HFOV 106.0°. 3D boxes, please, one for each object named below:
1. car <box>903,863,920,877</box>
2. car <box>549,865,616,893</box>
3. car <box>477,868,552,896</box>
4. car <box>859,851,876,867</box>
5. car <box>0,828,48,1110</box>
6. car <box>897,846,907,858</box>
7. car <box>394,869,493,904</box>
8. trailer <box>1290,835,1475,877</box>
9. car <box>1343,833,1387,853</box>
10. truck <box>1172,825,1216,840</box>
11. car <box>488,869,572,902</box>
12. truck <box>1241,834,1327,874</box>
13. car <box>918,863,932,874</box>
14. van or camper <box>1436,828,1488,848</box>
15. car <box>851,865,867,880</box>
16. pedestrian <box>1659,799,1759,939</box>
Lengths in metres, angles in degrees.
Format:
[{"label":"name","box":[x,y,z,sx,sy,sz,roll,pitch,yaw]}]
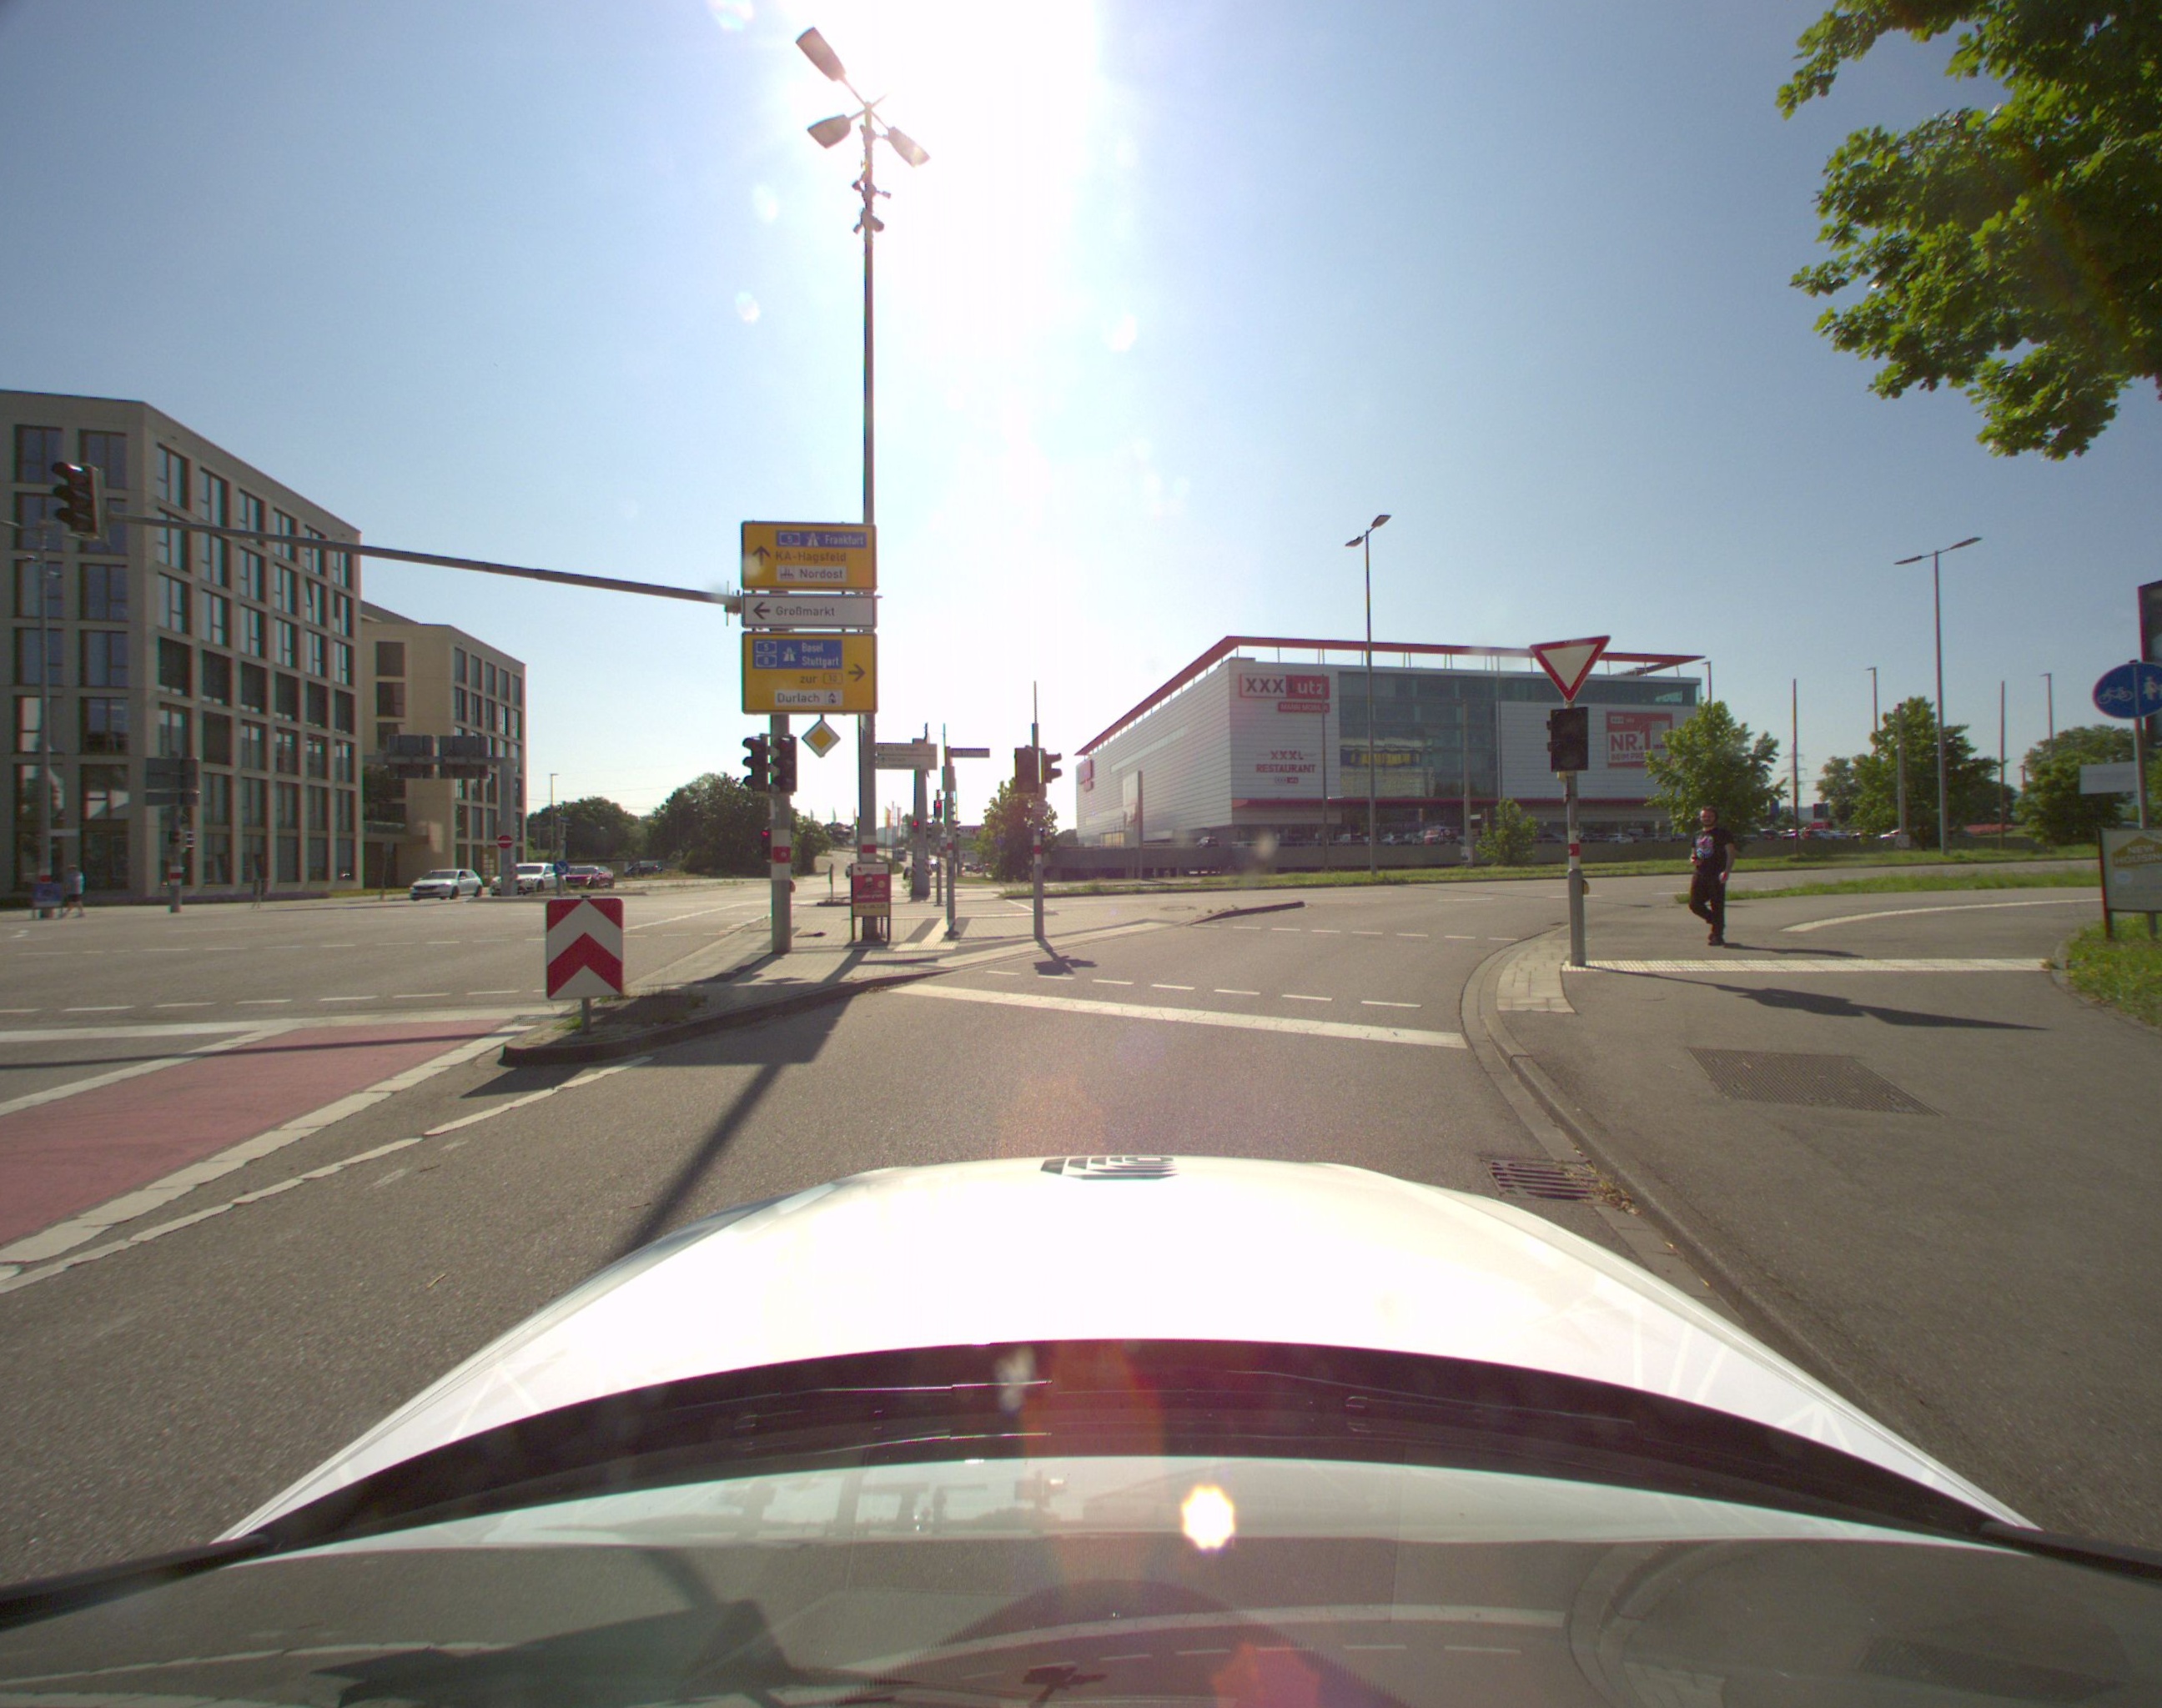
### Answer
[{"label":"car","box":[-18.497,1.753,88.847,1.689,1.359,3.987,1,1,-10]},{"label":"car","box":[-28.958,1.440,47.478,1.814,1.464,3.990,-2,0,-7]},{"label":"car","box":[-31.962,1.546,46.069,1.814,1.464,3.990,-2,0,-7]},{"label":"car","box":[-28.819,0.672,109.946,1.994,2.013,3.966,1,1,-11]},{"label":"car","box":[-6.907,0.690,2.636,1.806,1.640,4.445,-1,0,-8]},{"label":"car","box":[-37.561,-0.408,170.902,1.994,2.321,3.987,1,1,-10]},{"label":"car","box":[-30.247,1.500,38.806,1.890,1.464,3.990,-2,0,-7]},{"label":"trailer","box":[19.649,0.128,53.071,11.866,2.469,1.994,1,1,-9]},{"label":"car","box":[30.319,-1.142,87.012,3.992,2.013,1.991,1,1,-14]},{"label":"truck","box":[15.939,-2.980,115.076,5.909,2.013,1.993,1,1,-10]},{"label":"car","box":[-27.380,1.534,40.637,1.814,1.464,3.990,-2,0,-7]},{"label":"truck","box":[12.918,0.016,51.966,4.880,2.424,1.994,1,1,-10]},{"label":"car","box":[-21.127,1.962,110.301,1.689,1.359,3.987,1,1,-10]},{"label":"van or camper","box":[41.187,-1.739,88.095,4.989,2.013,1.991,1,1,-13]},{"label":"car","box":[-27.300,2.244,100.042,1.762,1.794,3.331,-1,0,-13]},{"label":"pedestrian","box":[8.276,0.189,10.758,0.630,1.770,0.799,-1,0,-23]}]
